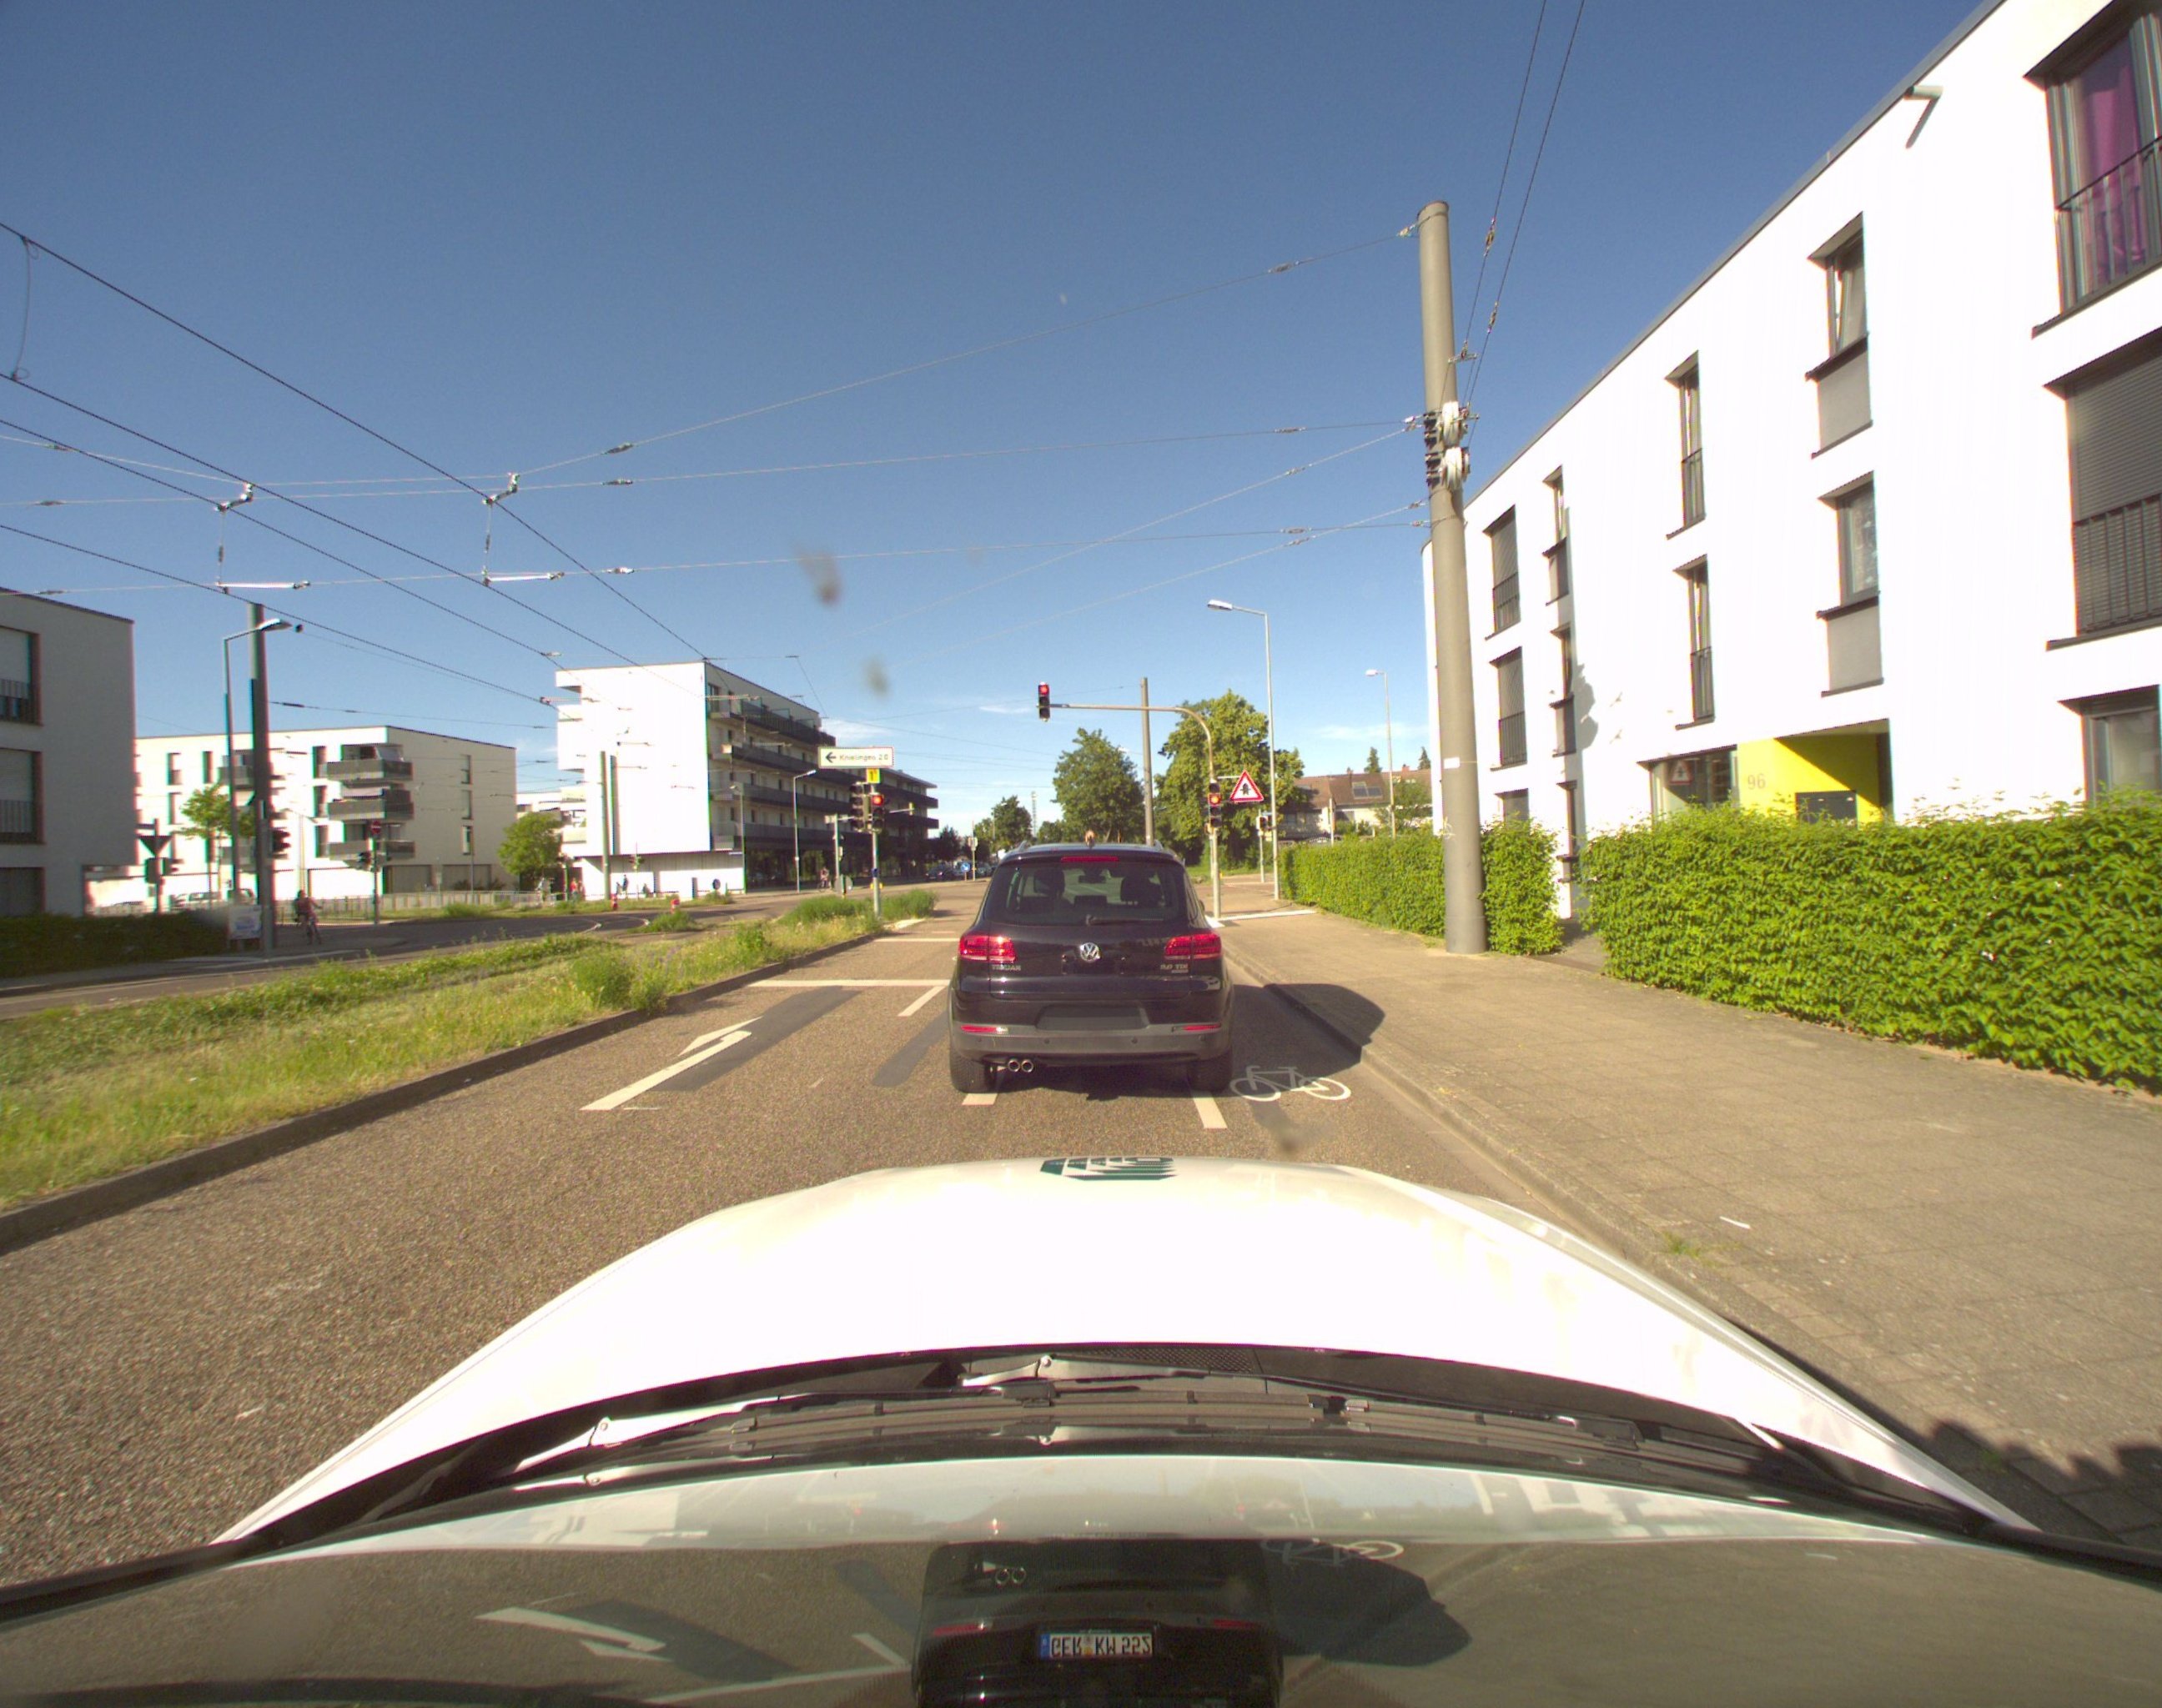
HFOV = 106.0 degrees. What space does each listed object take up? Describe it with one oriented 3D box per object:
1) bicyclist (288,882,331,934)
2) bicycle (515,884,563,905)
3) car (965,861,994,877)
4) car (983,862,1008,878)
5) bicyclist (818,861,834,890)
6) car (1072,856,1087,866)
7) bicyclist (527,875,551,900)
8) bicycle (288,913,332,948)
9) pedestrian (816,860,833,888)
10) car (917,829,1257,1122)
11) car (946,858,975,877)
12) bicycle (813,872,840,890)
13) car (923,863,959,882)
[{"bbox_3d":[-23.266,1.610,24.565,0.897,1.490,0.737,-2,-1,-43],"label":"bicyclist"},{"bbox_3d":[-35.834,2.658,53.888,0.895,1.198,2.834,-3,0,11],"label":"bicycle"},{"bbox_3d":[-10.418,1.531,84.005,1.982,1.487,3.552,-5,0,8],"label":"car"},{"bbox_3d":[-9.466,1.772,90.730,1.958,1.534,4.745,-3,0,4],"label":"car"},{"bbox_3d":[-18.259,1.561,58.266,0.799,2.013,0.802,-2,-1,-38],"label":"bicyclist"},{"bbox_3d":[-0.330,1.301,149.921,1.981,1.571,4.011,-3,0,10],"label":"car"},{"bbox_3d":[-35.855,2.207,53.896,0.886,1.592,0.916,-3,-1,11],"label":"bicyclist"},{"bbox_3d":[-23.306,2.297,24.642,0.908,0.892,2.453,-2,-1,-43],"label":"bicycle"},{"bbox_3d":[-19.504,1.508,61.913,0.974,2.013,0.760,-3,-1,-1],"label":"pedestrian"},{"bbox_3d":[0.057,0.700,6.873,1.923,1.654,4.514,0,0,0],"label":"car"},{"bbox_3d":[-11.608,1.257,78.710,1.985,1.755,4.365,-2,0,3],"label":"car"},{"bbox_3d":[-18.209,1.937,58.287,1.651,1.144,0.736,-2,-1,-38],"label":"bicycle"},{"bbox_3d":[-12.284,1.595,71.787,1.685,1.456,4.465,-3,0,10],"label":"car"}]
